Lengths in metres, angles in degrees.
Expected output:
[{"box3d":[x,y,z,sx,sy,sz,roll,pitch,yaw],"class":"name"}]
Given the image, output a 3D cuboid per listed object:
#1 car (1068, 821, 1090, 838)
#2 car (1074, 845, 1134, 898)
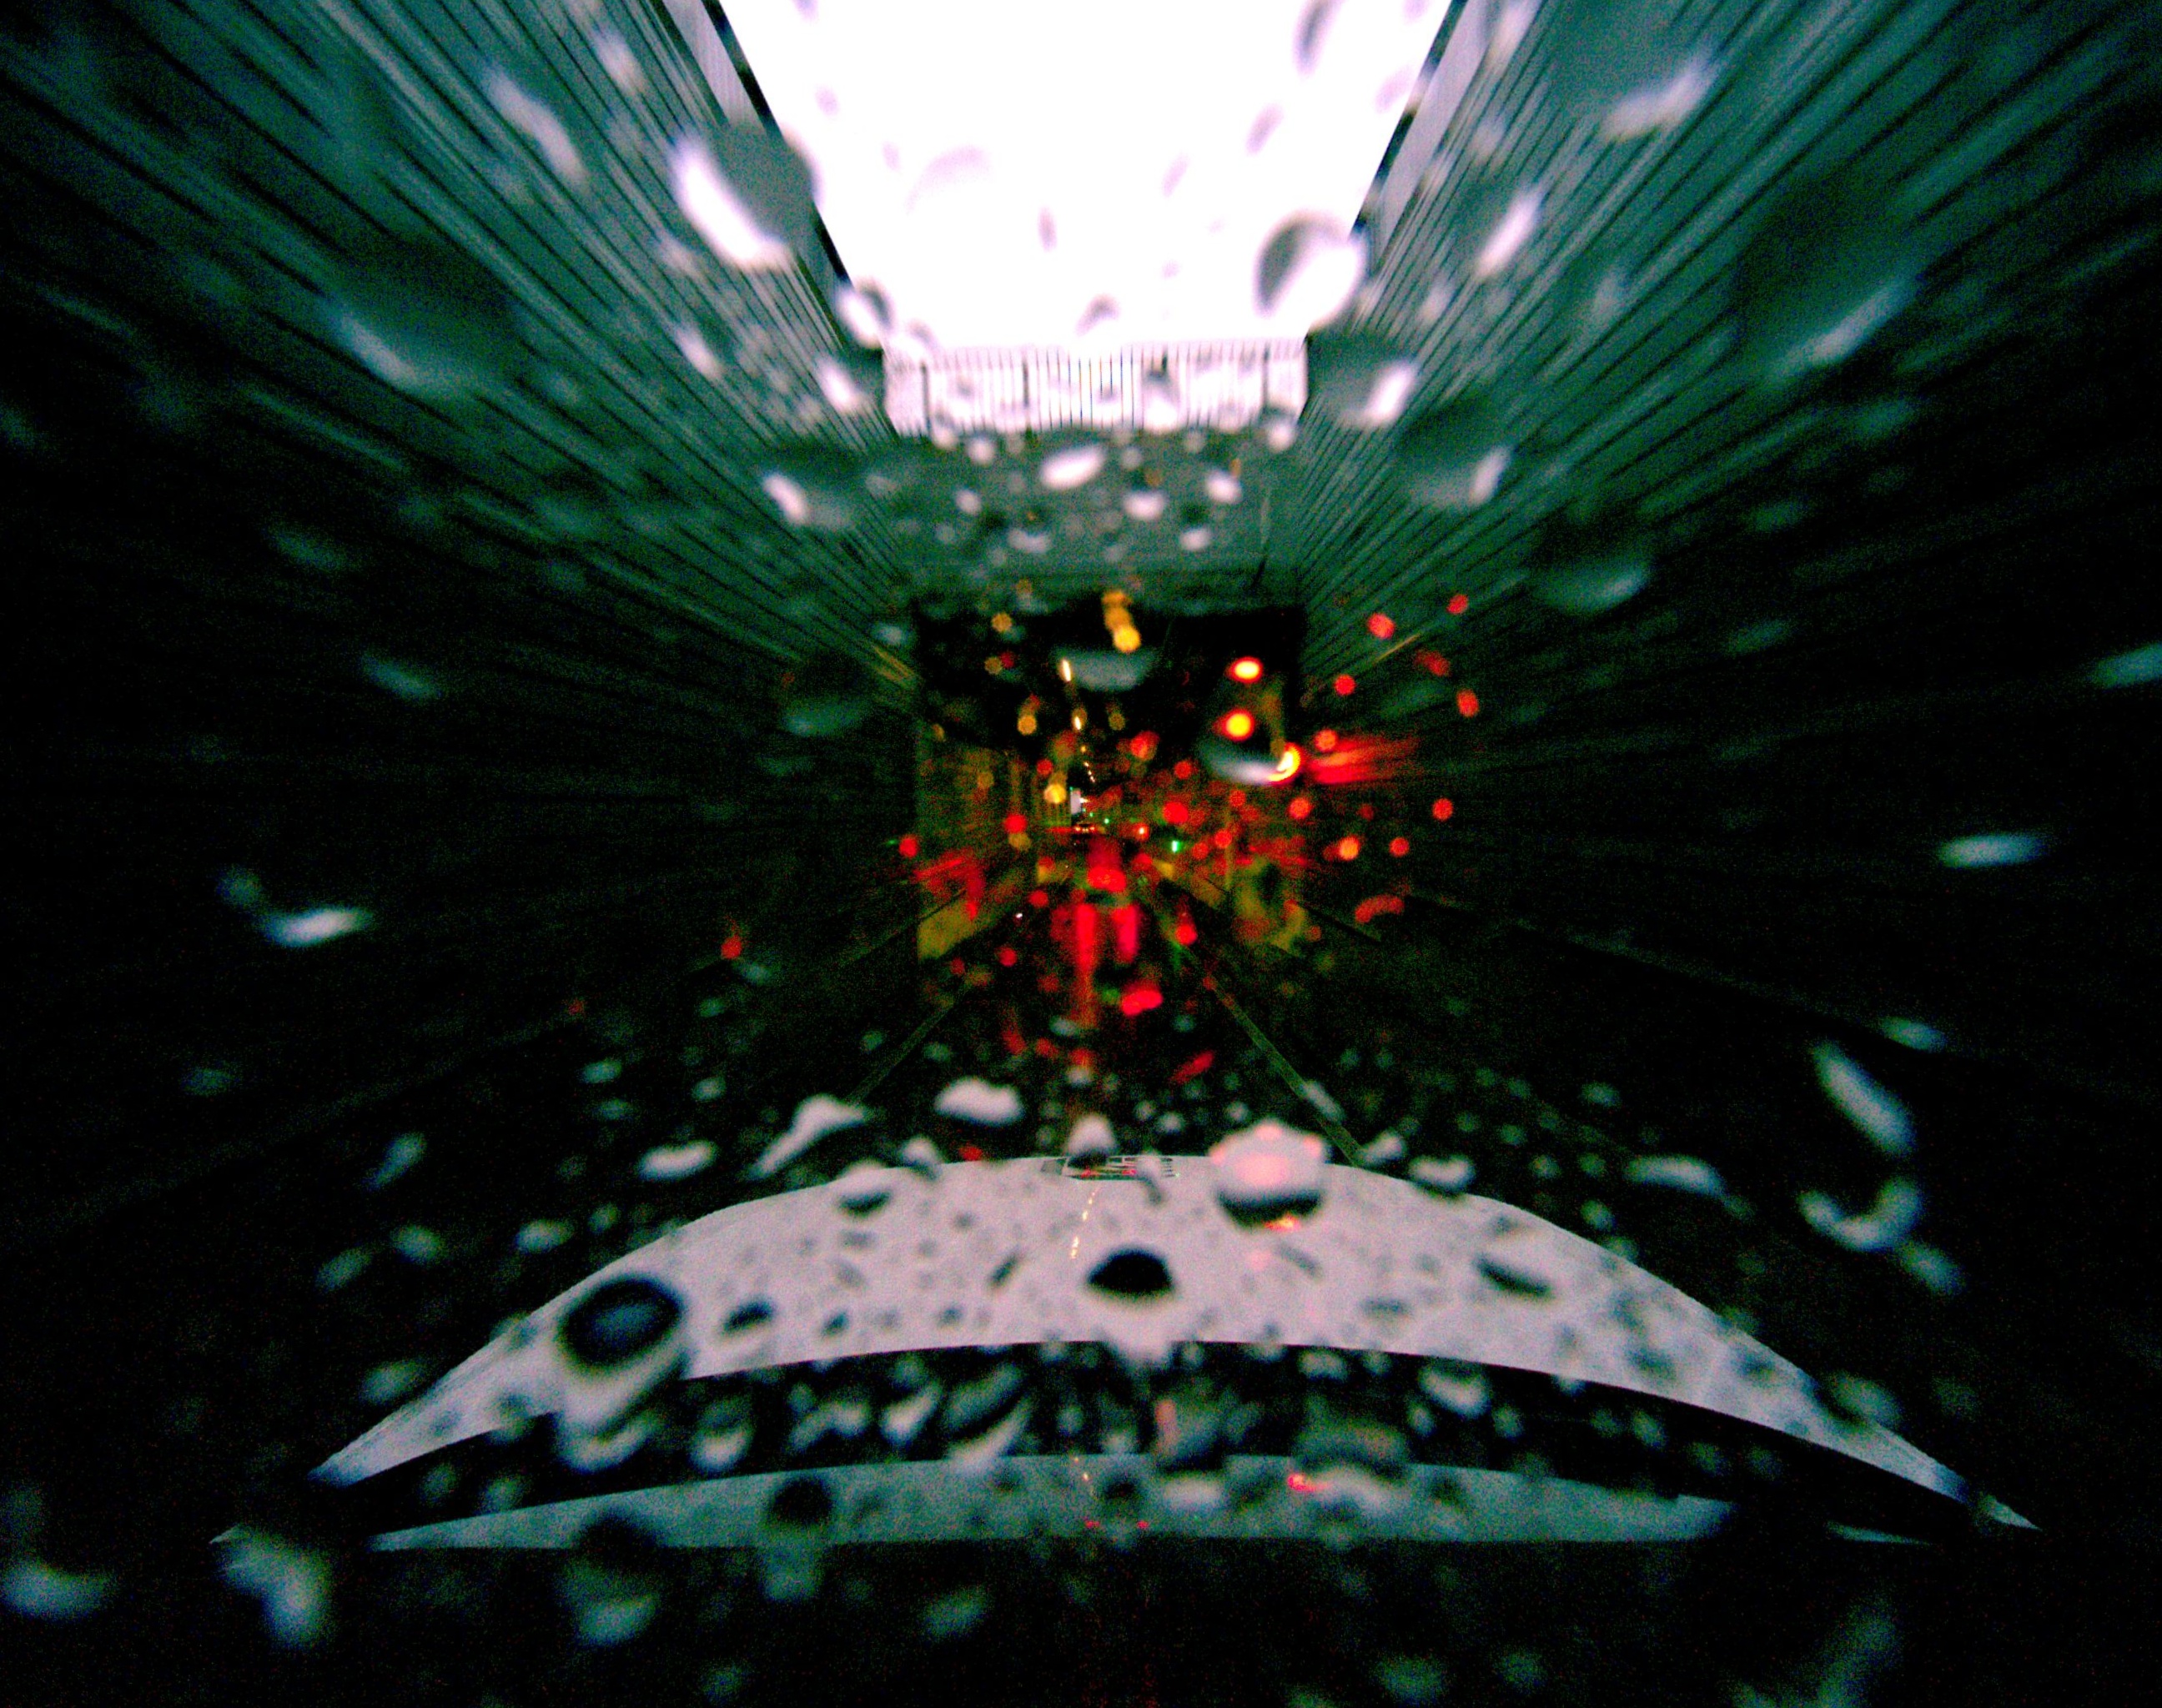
[{"box3d":[-0.149,-2.235,73.138,1.913,1.485,4.001,0,3,0],"class":"car"},{"box3d":[0.762,0.478,25.202,1.715,1.479,4.003,0,1,3],"class":"car"}]
